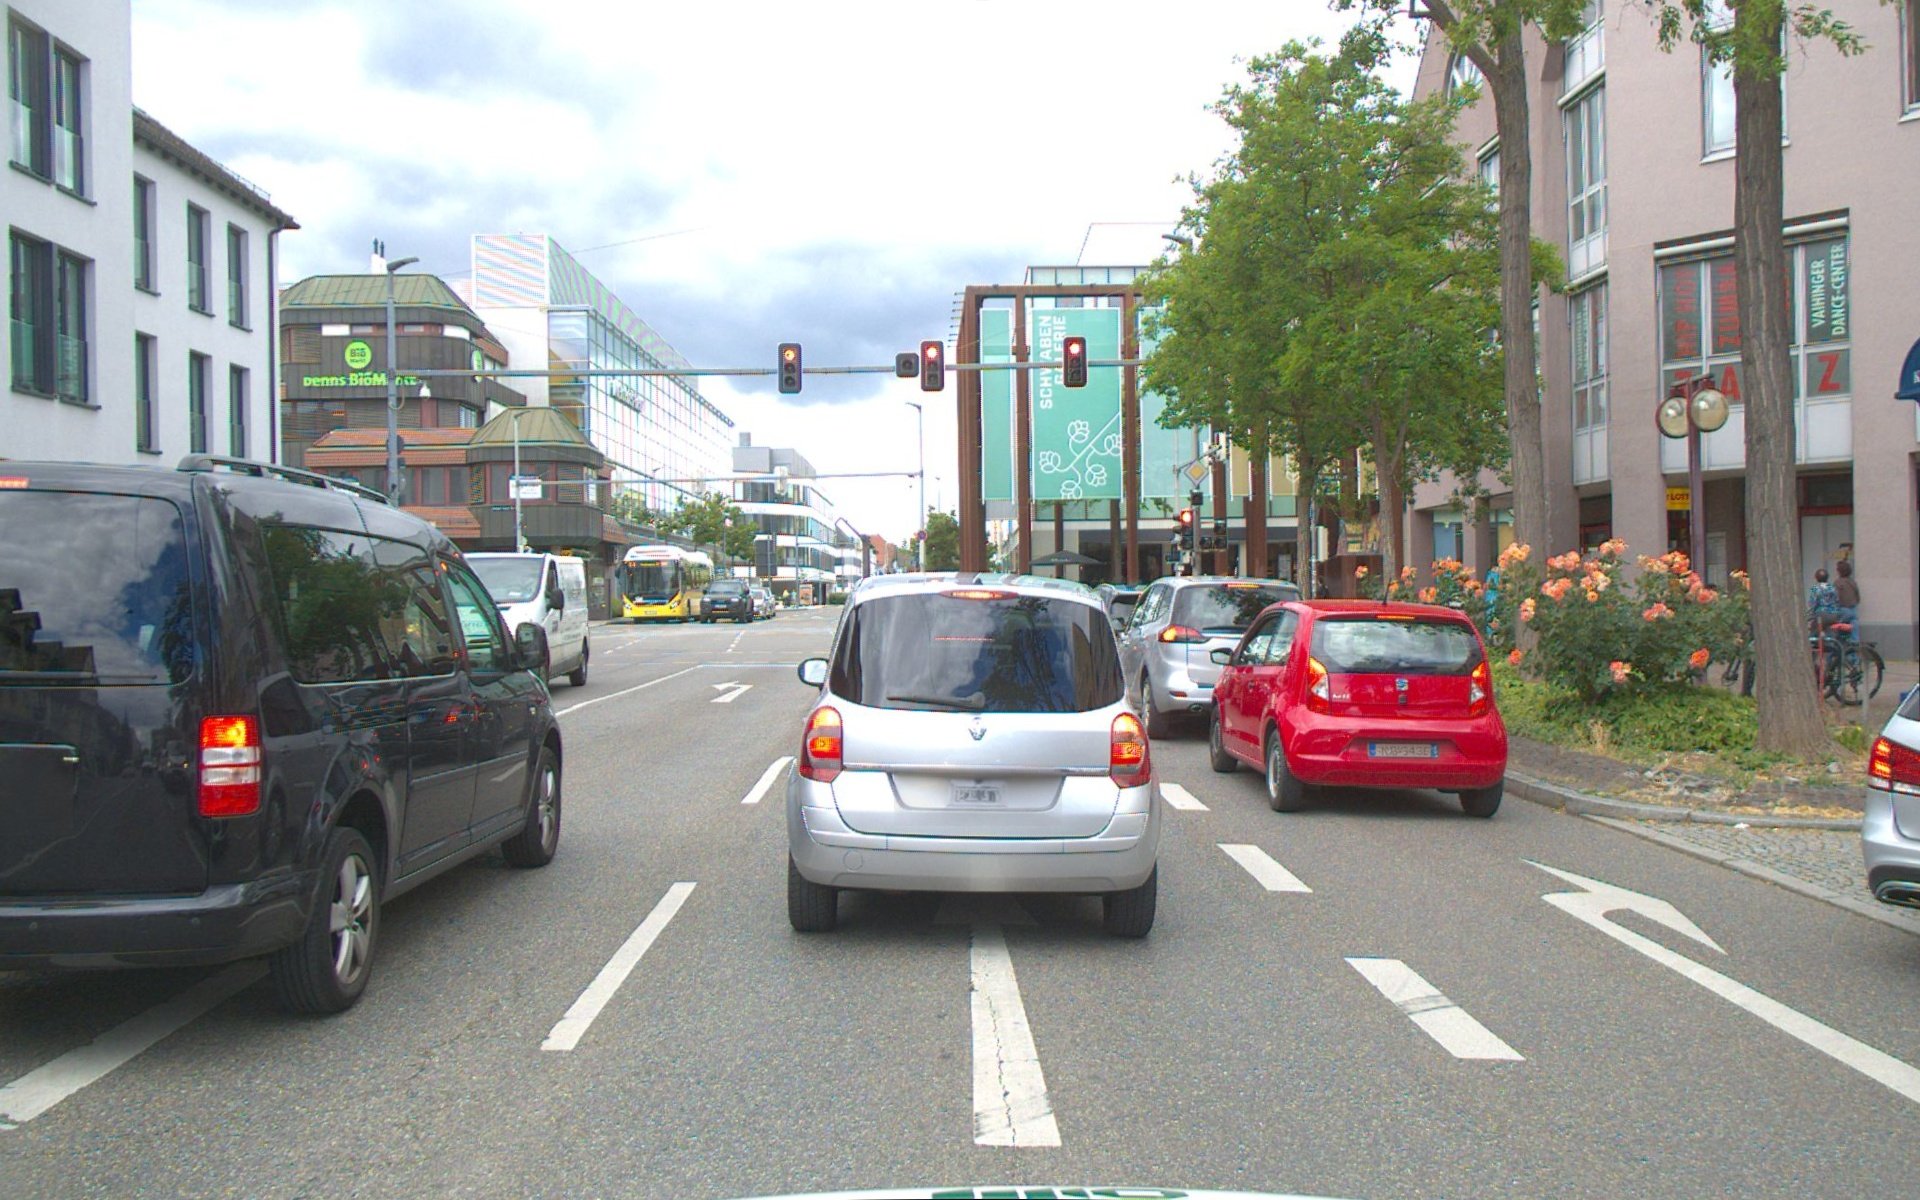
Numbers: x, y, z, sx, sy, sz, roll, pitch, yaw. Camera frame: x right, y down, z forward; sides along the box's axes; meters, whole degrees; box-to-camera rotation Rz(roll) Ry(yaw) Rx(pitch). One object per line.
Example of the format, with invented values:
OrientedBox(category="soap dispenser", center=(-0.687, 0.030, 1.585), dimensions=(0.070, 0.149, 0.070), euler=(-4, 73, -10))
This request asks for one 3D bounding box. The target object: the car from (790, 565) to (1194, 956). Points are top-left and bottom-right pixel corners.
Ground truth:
OrientedBox(category="car", center=(0.101, 0.633, 8.333), dimensions=(1.606, 1.554, 3.393), euler=(1, 0, -1))

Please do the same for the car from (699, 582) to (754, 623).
OrientedBox(category="car", center=(-10.177, 0.089, 72.280), dimensions=(1.953, 1.735, 4.063), euler=(0, 0, -2))

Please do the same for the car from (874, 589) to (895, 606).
OrientedBox(category="car", center=(-7.193, -0.224, 157.338), dimensions=(1.764, 1.567, 4.065), euler=(0, 0, 0))

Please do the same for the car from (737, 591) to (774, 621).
OrientedBox(category="car", center=(-9.856, 0.270, 79.865), dimensions=(1.524, 1.417, 3.286), euler=(0, 0, -2))

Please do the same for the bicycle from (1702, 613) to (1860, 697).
OrientedBox(category="bicycle", center=(10.245, 0.681, 20.671), dimensions=(1.731, 1.014, 0.447), euler=(-1, 0, 3))

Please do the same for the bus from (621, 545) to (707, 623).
OrientedBox(category="bus", center=(-13.292, -0.704, 74.905), dimensions=(2.633, 3.318, 8.650), euler=(0, 0, -2))

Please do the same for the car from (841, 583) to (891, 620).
OrientedBox(category="car", center=(-4.474, 0.050, 79.526), dimensions=(1.877, 1.706, 4.244), euler=(0, 0, 4))

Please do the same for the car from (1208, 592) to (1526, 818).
OrientedBox(category="car", center=(2.970, 0.694, 12.708), dimensions=(1.554, 1.468, 3.348), euler=(1, 0, -1))

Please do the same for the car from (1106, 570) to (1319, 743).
OrientedBox(category="car", center=(2.652, 0.544, 18.154), dimensions=(1.555, 1.662, 3.914), euler=(1, 0, -3))

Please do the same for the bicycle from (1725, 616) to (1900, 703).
OrientedBox(category="bicycle", center=(10.352, 0.720, 20.118), dimensions=(1.861, 1.014, 0.468), euler=(-1, 0, 3))

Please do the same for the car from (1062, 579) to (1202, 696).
OrientedBox(category="car", center=(2.558, 0.521, 25.388), dimensions=(1.555, 1.623, 3.866), euler=(1, 0, -3))

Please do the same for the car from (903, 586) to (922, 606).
OrientedBox(category="car", center=(-4.924, -0.442, 169.950), dimensions=(1.953, 1.983, 4.949), euler=(0, 0, -2))

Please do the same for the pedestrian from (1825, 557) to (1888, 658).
OrientedBox(category="pedestrian", center=(14.363, 0.120, 26.506), dimensions=(0.653, 1.591, 0.617), euler=(0, 0, -23))

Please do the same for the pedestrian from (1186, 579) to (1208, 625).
OrientedBox(category="pedestrian", center=(8.692, 0.072, 60.653), dimensions=(0.641, 1.679, 0.557), euler=(-1, 0, -15))

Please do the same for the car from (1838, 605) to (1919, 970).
OrientedBox(category="car", center=(6.006, 0.768, 7.414), dimensions=(4.314, 1.473, 1.801), euler=(0, 1, -33))

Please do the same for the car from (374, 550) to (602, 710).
OrientedBox(category="car", center=(-6.425, 0.349, 23.158), dimensions=(1.954, 1.921, 5.155), euler=(-2, 1, -4))

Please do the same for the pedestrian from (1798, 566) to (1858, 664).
OrientedBox(category="pedestrian", center=(13.768, 0.228, 26.242), dimensions=(0.601, 1.542, 0.617), euler=(0, 0, -23))

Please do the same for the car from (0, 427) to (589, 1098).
OrientedBox(category="car", center=(-2.888, 0.437, 6.962), dimensions=(1.709, 1.887, 4.632), euler=(1, 0, -2))
